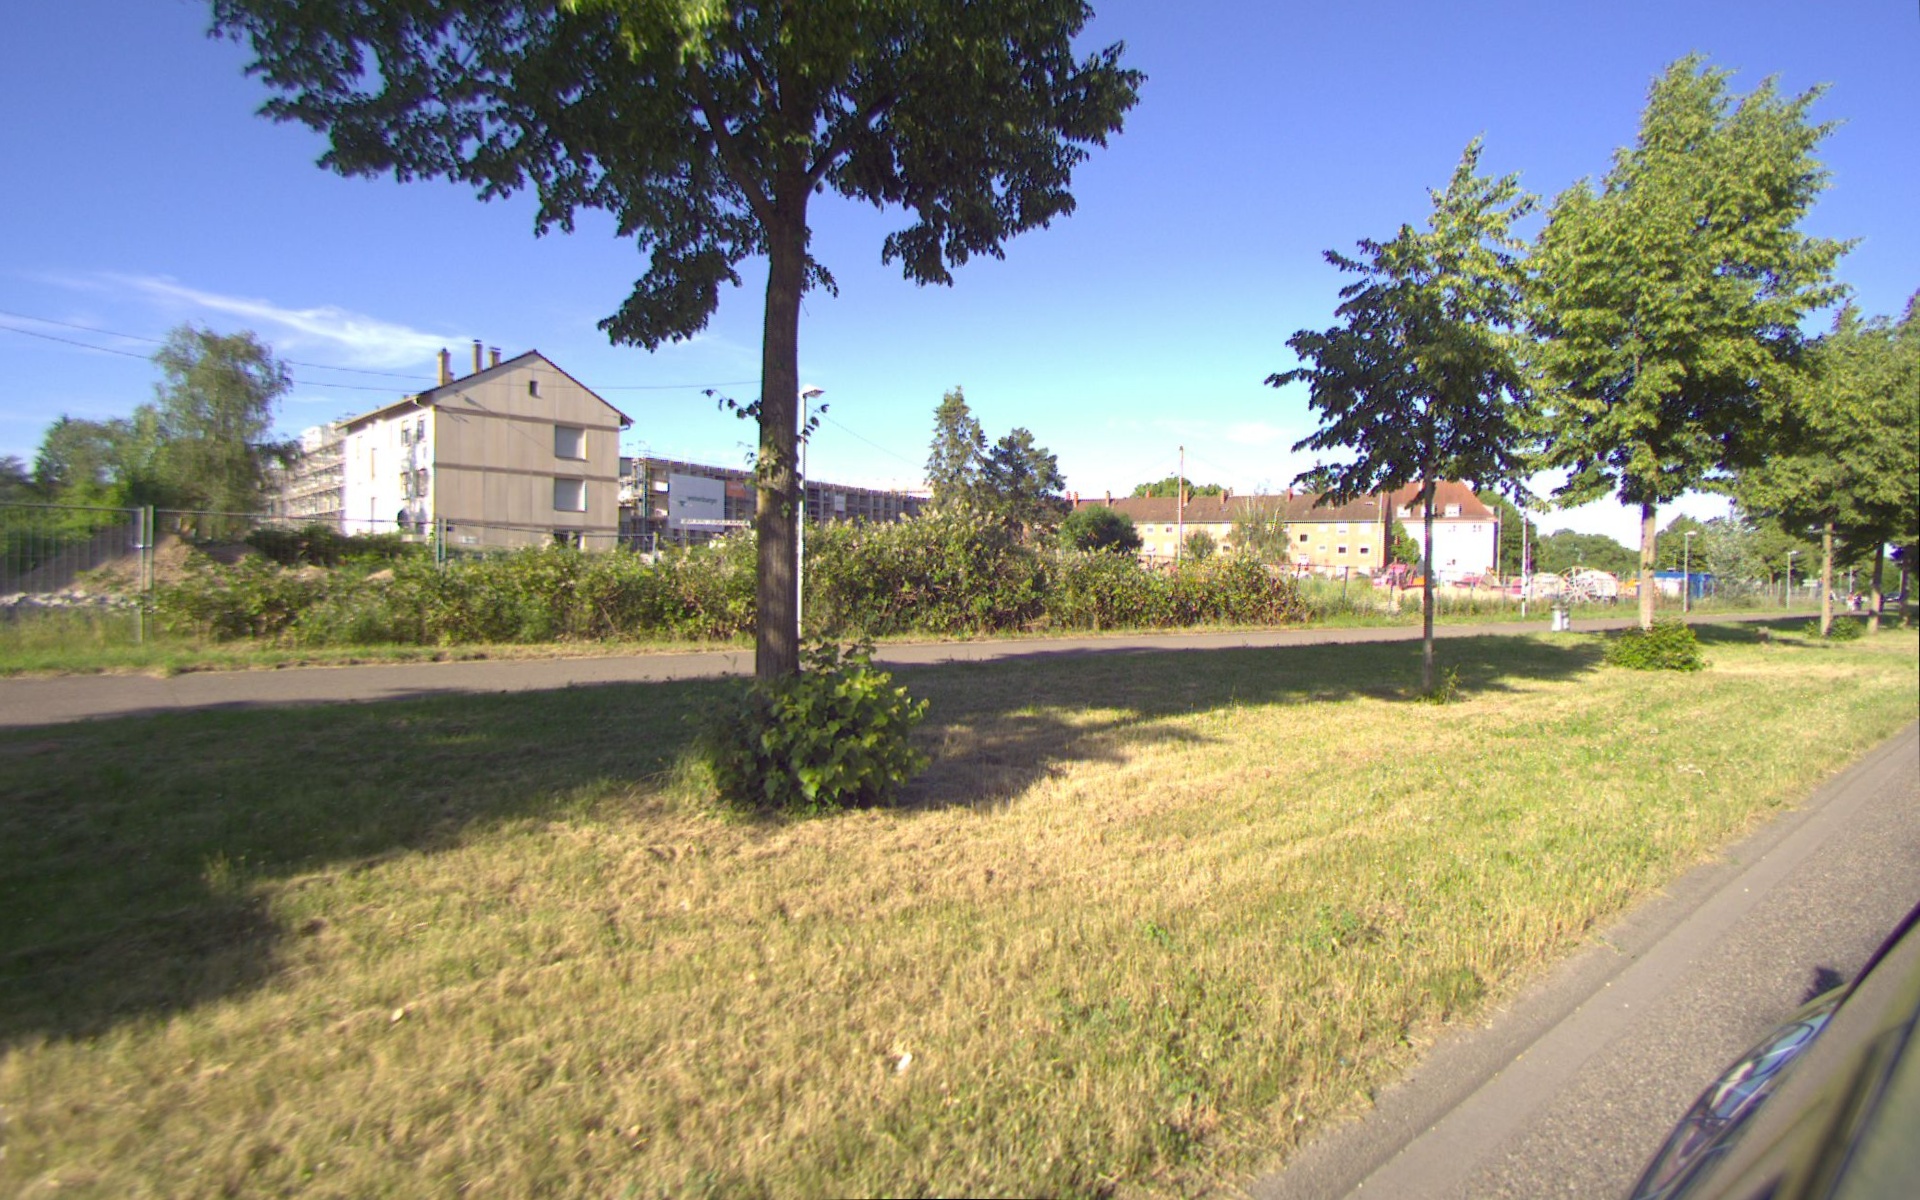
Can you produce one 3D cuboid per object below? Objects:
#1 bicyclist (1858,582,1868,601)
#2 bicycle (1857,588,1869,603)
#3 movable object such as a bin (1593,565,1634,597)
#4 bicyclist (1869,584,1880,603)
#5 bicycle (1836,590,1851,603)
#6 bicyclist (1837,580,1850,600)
[{"bbox_3d":[71.167,-0.684,79.763,0.819,1.491,0.504,-1,2,-41],"label":"bicyclist"},{"bbox_3d":[71.155,-0.345,79.739,1.577,1.166,0.506,0,3,-42],"label":"bicycle"},{"bbox_3d":[42.506,-1.274,65.800,1.758,2.038,1.799,-2,3,-39],"label":"movable object such as a bin"},{"bbox_3d":[79.374,-0.598,87.829,0.949,1.606,0.592,-2,2,-43],"label":"bicyclist"},{"bbox_3d":[70.525,-0.312,80.786,1.788,1.025,0.656,0,1,-41],"label":"bicycle"},{"bbox_3d":[70.560,-0.803,80.812,0.781,1.572,0.654,0,2,-40],"label":"bicyclist"}]
